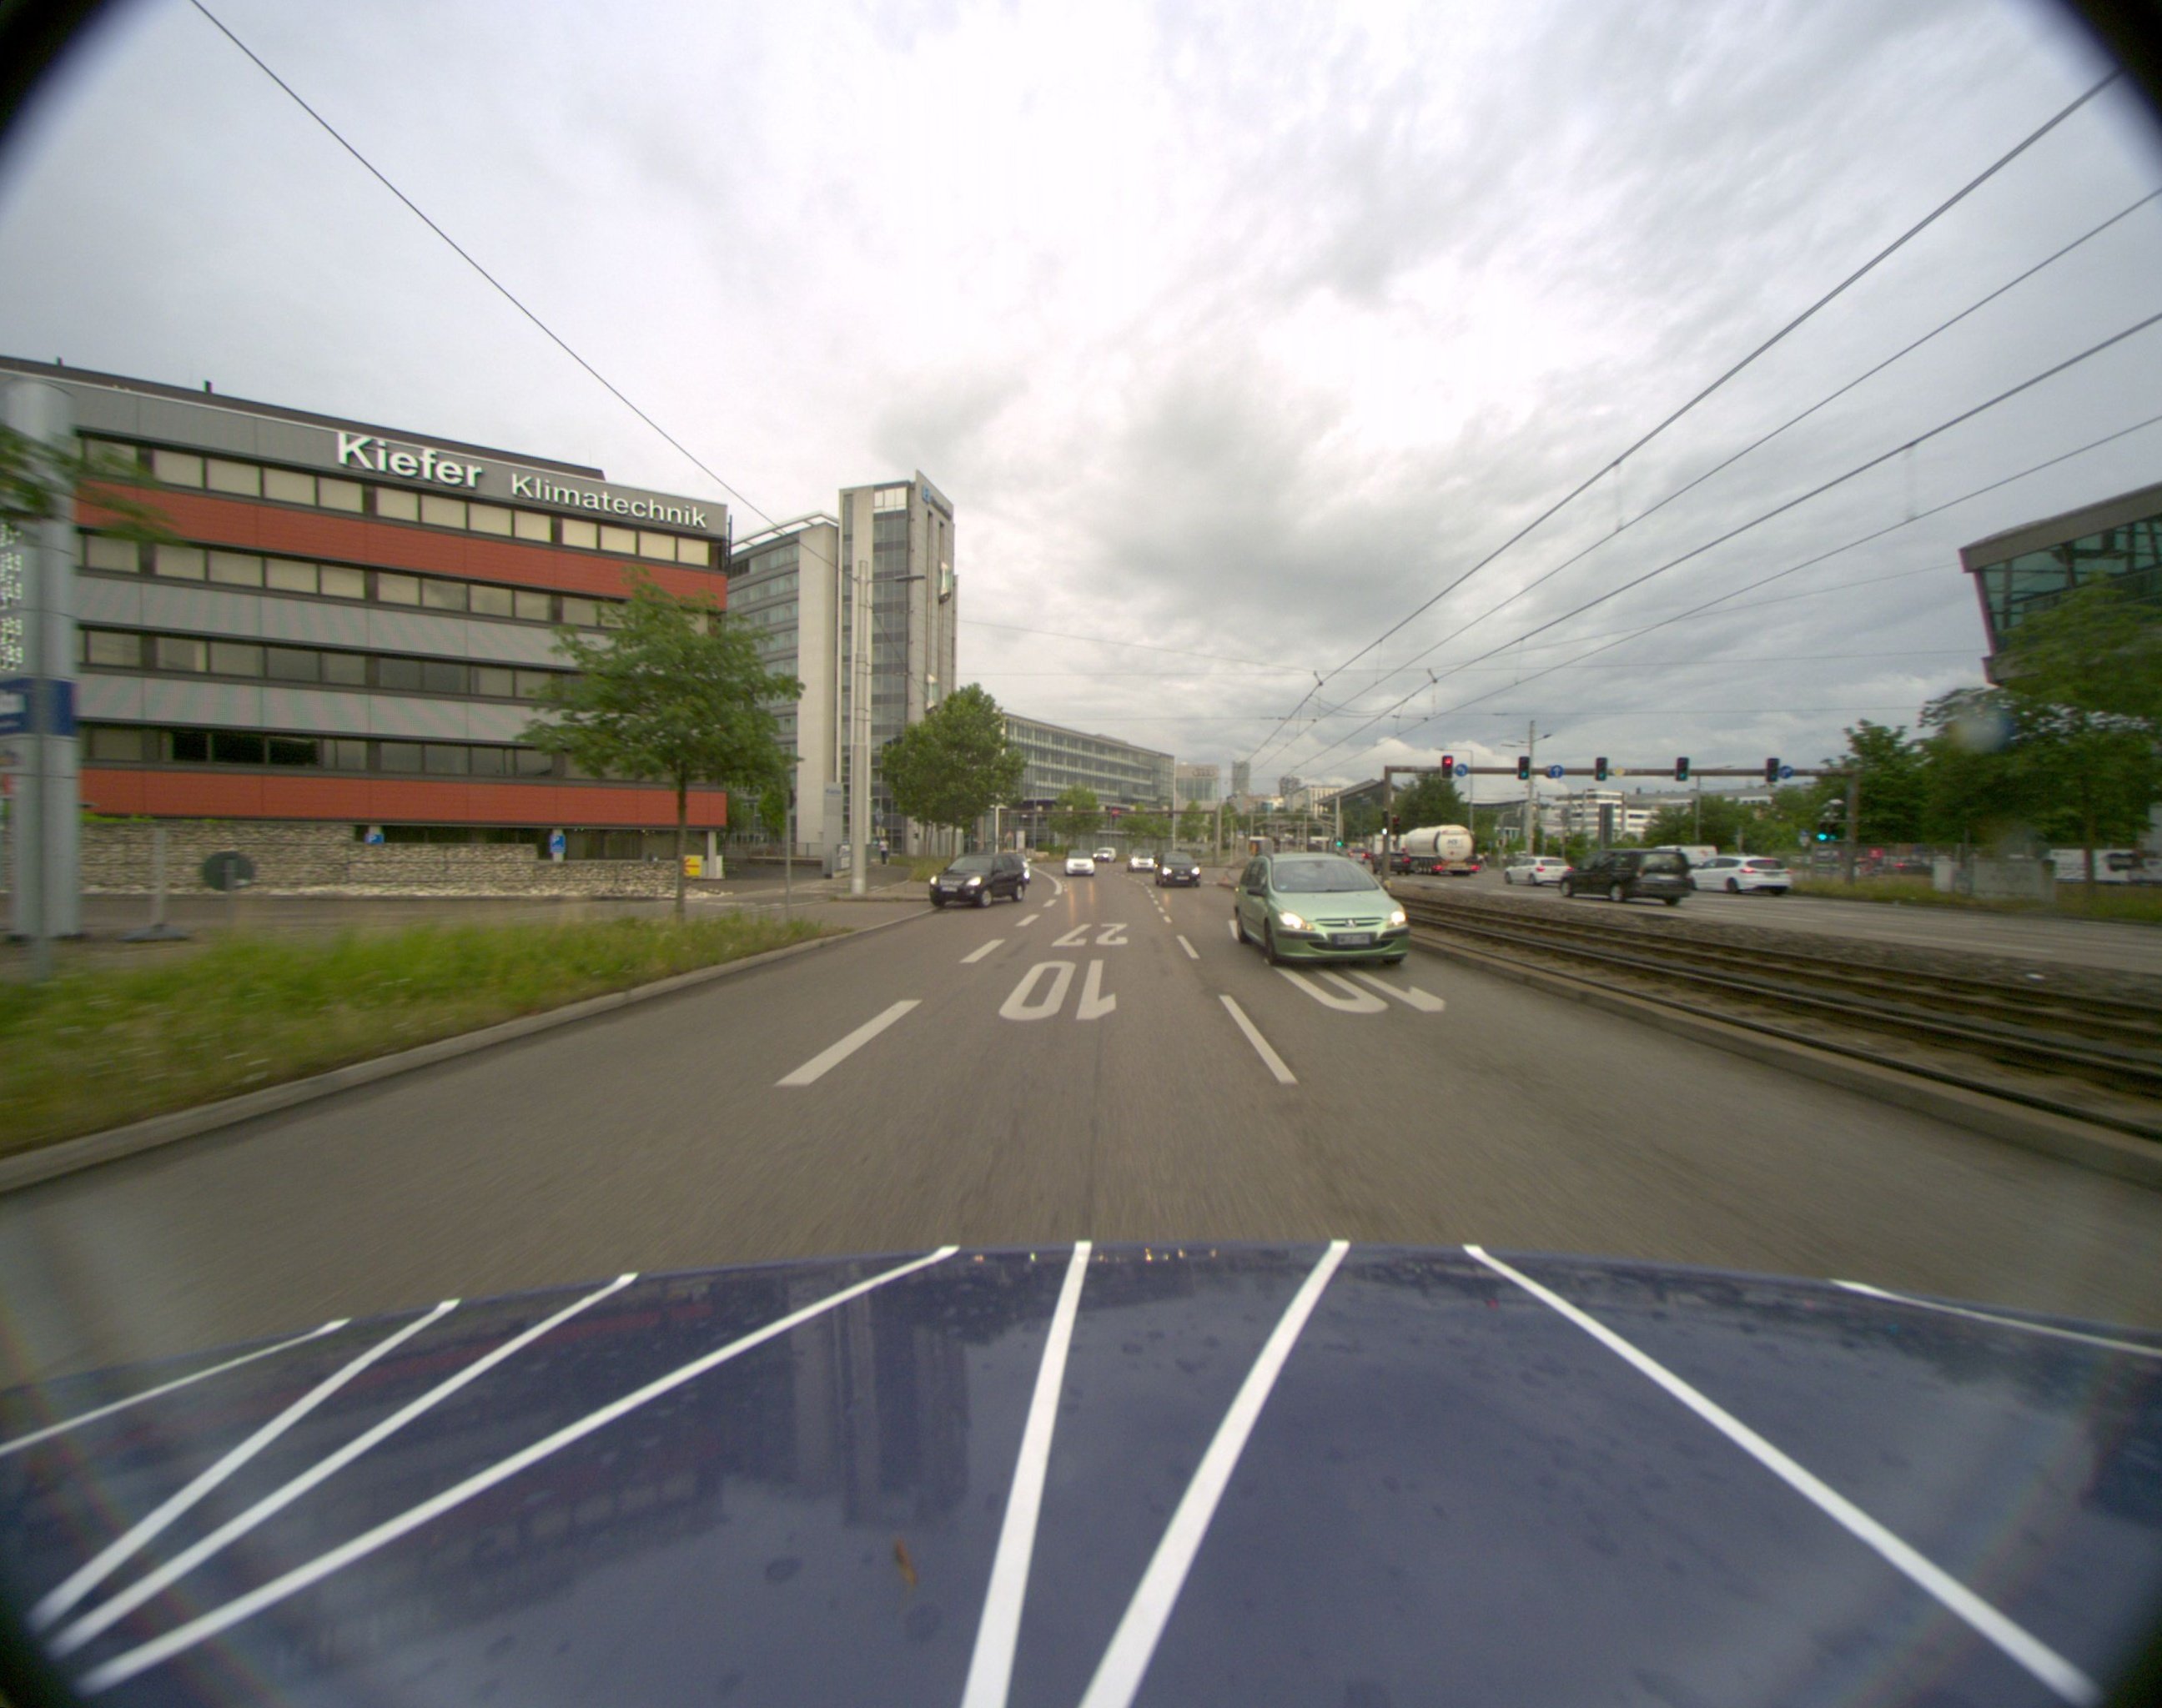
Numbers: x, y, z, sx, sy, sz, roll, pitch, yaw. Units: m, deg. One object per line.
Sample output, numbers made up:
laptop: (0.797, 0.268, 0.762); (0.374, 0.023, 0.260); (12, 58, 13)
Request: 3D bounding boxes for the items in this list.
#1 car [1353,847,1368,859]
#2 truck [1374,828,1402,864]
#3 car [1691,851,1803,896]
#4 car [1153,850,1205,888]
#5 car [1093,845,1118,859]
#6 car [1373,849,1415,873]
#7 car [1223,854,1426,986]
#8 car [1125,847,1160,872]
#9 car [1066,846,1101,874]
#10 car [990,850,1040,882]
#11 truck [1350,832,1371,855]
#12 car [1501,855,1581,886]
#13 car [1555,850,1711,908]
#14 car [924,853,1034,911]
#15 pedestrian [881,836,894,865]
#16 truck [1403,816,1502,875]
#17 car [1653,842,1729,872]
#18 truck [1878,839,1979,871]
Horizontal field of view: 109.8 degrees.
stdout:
car: (37.247, -0.102, 101.348); (1.813, 1.565, 4.006); (1, 0, 21)
truck: (40.446, -1.057, 100.117); (3.261, 4.503, 7.104); (1, 0, 22)
car: (29.190, 0.800, 33.471); (1.813, 1.815, 3.873); (1, 0, 8)
car: (4.284, 0.606, 33.603); (1.762, 1.535, 3.713); (-2, 1, 0)
car: (2.952, -0.257, 90.581); (1.887, 1.584, 3.987); (1, 0, 18)
car: (21.574, 0.445, 52.564); (1.819, 1.565, 4.003); (1, 0, 9)
car: (3.312, 0.799, 11.198); (1.762, 1.489, 4.137); (-2, 1, 2)
car: (4.079, 0.354, 50.937); (1.763, 1.535, 3.712); (-2, 1, -4)
car: (0.104, 0.323, 45.456); (1.819, 1.585, 3.834); (0, 2, -3)
car: (-3.205, 0.551, 37.730); (1.878, 1.485, 3.837); (0, 0, 4)
truck: (51.818, -1.919, 140.930); (3.381, 4.115, 7.641); (1, 0, 19)
car: (22.800, 0.774, 37.803); (1.798, 1.437, 3.924); (1, 0, 4)
car: (18.321, 0.744, 25.561); (1.998, 1.721, 4.679); (2, 0, 3)
car: (-3.158, 0.821, 24.533); (1.790, 1.637, 4.365); (0, 1, 18)
pedestrian: (-12.990, -0.248, 50.896); (0.683, 1.890, 0.677); (-2, 1, -23)
truck: (26.071, -0.585, 54.082); (4.085, 3.734, 10.865); (1, 0, 14)
car: (50.299, 0.256, 62.679); (5.065, 2.318, 1.998); (1, 1, -11)
truck: (55.689, 0.041, 50.008); (2.003, 2.002, 3.991); (1, 0, -24)
